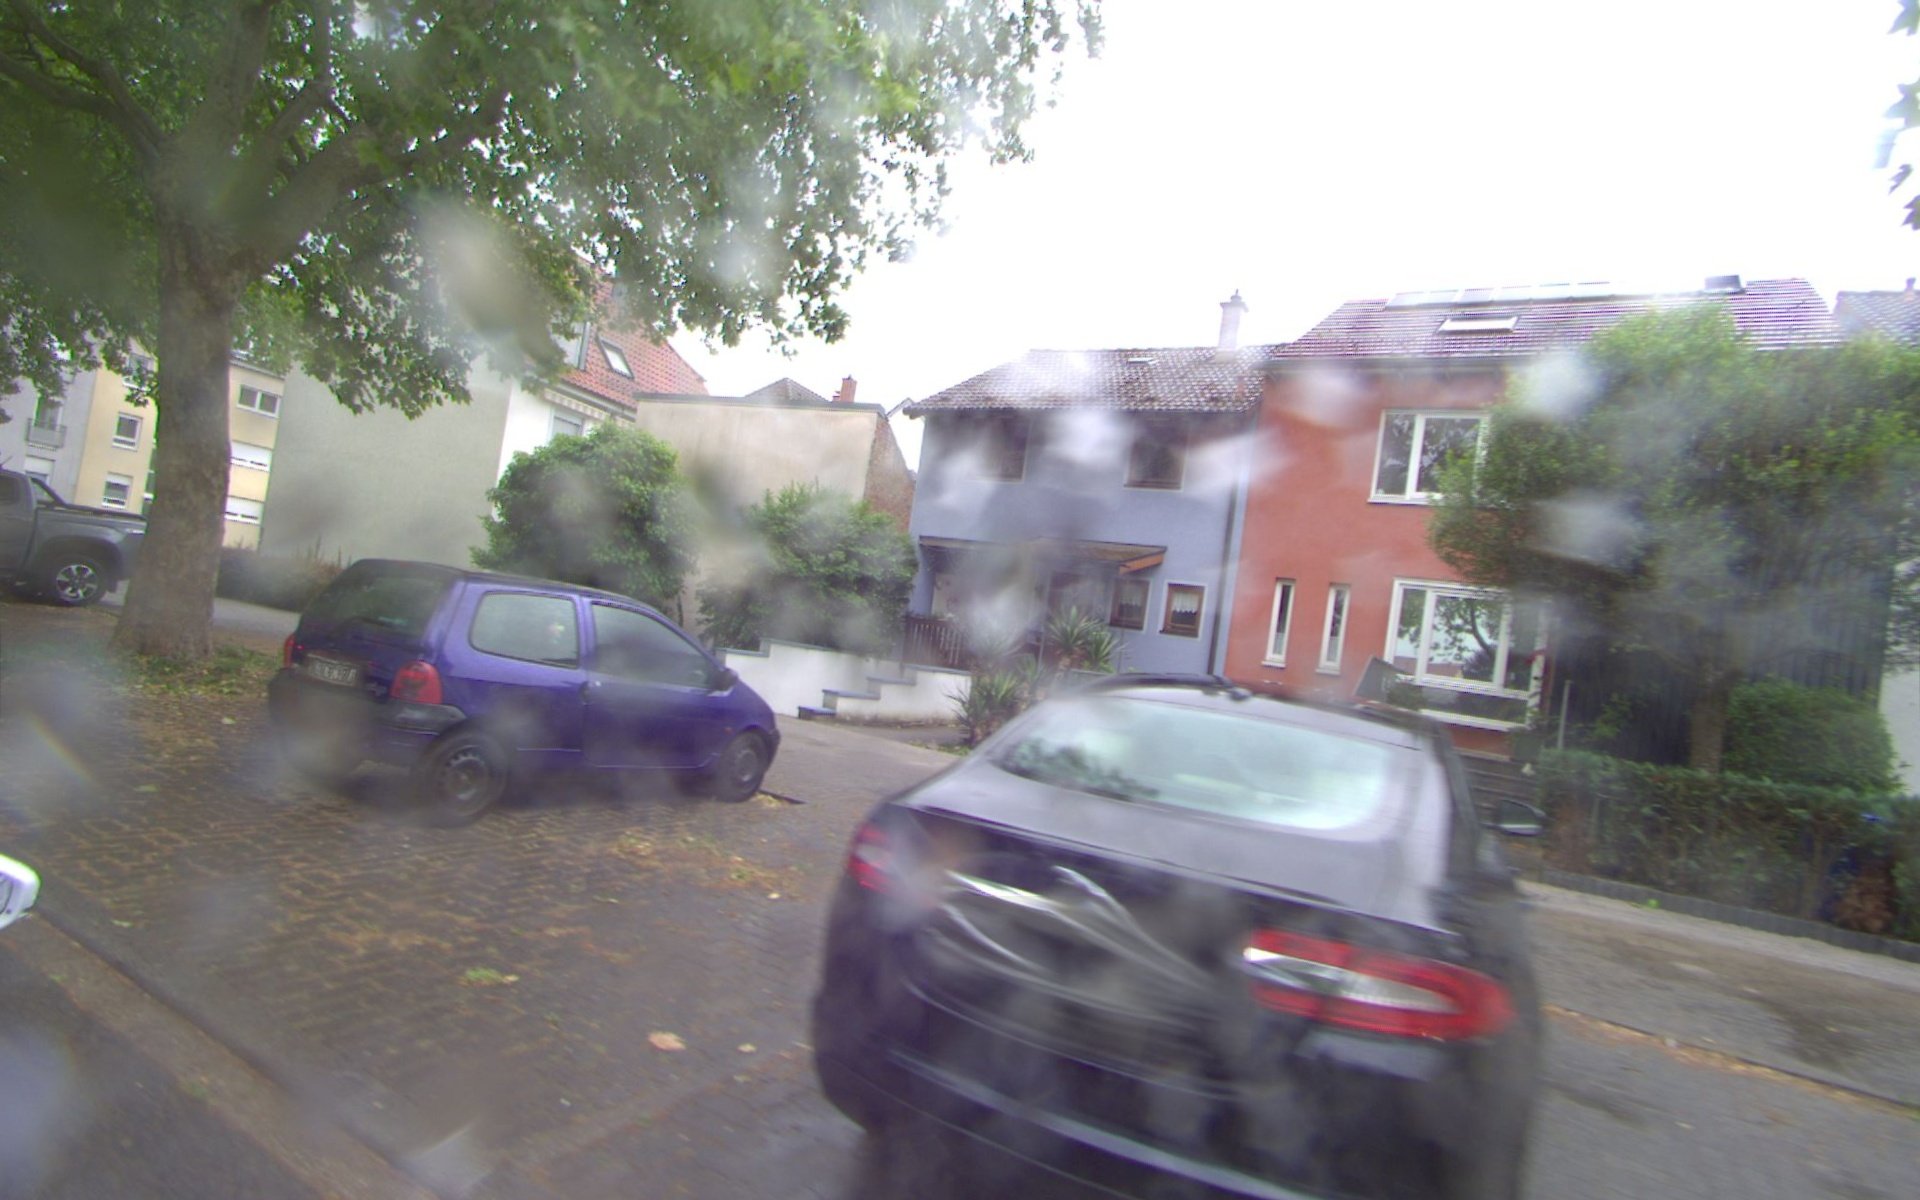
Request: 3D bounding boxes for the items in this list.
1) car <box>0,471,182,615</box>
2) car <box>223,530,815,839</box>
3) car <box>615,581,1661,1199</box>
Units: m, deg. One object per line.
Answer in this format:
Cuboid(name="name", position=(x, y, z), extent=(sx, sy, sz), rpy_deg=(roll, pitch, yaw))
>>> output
Cuboid(name="car", position=(-14.063, -0.974, 13.513), extent=(1.812, 1.828, 5.354), rpy_deg=(8, -1, 25))
Cuboid(name="car", position=(-2.771, 0.590, 7.034), extent=(1.591, 1.480, 3.365), rpy_deg=(8, -2, 30))
Cuboid(name="car", position=(1.191, 1.036, 4.073), extent=(1.904, 1.489, 4.780), rpy_deg=(8, -2, 27))
